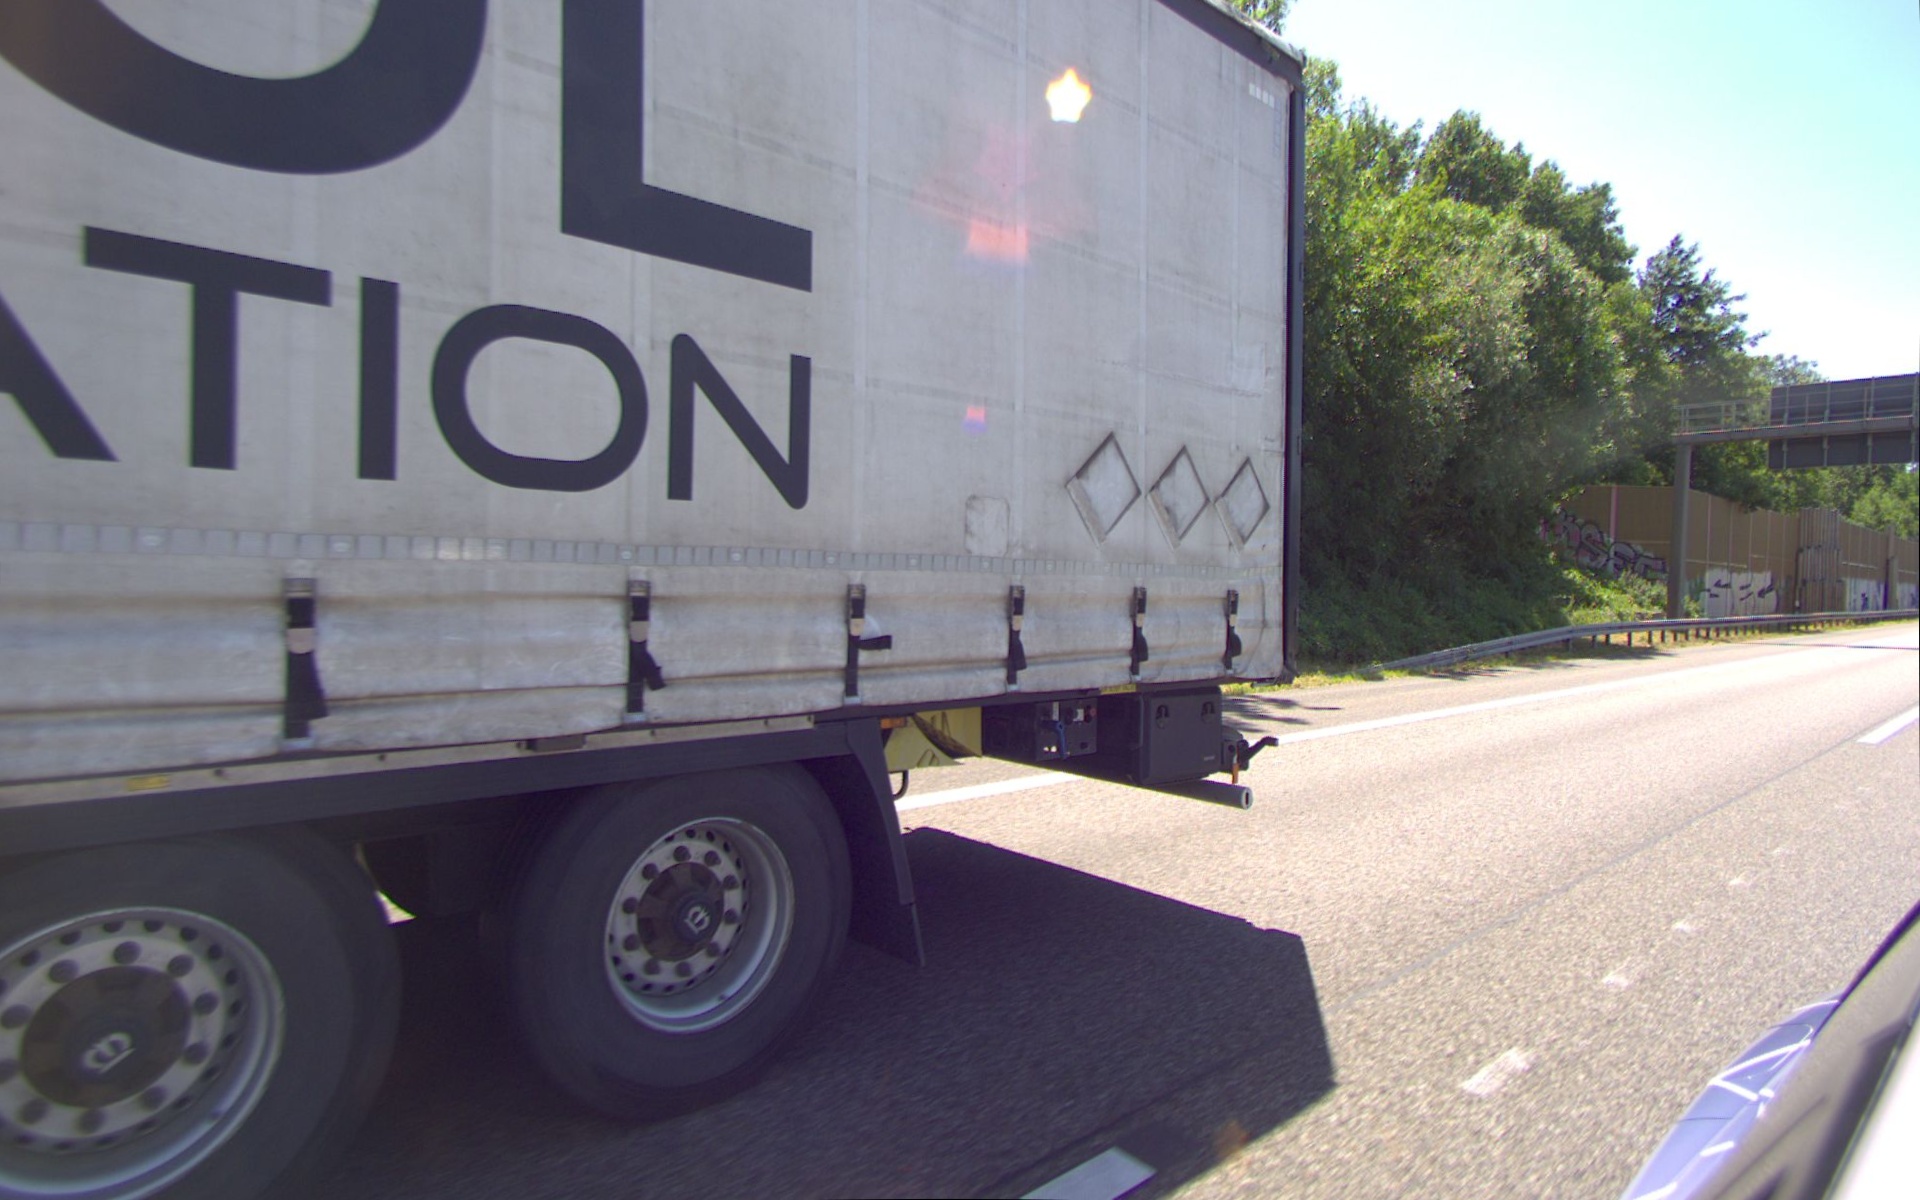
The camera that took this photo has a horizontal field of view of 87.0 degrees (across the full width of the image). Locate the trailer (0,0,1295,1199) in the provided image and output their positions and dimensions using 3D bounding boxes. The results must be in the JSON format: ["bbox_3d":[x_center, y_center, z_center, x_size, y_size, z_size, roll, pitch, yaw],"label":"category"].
[{"bbox_3d":[-5.087,-0.874,0.779,14.635,4.563,3.112,-1,1,-41],"label":"trailer"}]
